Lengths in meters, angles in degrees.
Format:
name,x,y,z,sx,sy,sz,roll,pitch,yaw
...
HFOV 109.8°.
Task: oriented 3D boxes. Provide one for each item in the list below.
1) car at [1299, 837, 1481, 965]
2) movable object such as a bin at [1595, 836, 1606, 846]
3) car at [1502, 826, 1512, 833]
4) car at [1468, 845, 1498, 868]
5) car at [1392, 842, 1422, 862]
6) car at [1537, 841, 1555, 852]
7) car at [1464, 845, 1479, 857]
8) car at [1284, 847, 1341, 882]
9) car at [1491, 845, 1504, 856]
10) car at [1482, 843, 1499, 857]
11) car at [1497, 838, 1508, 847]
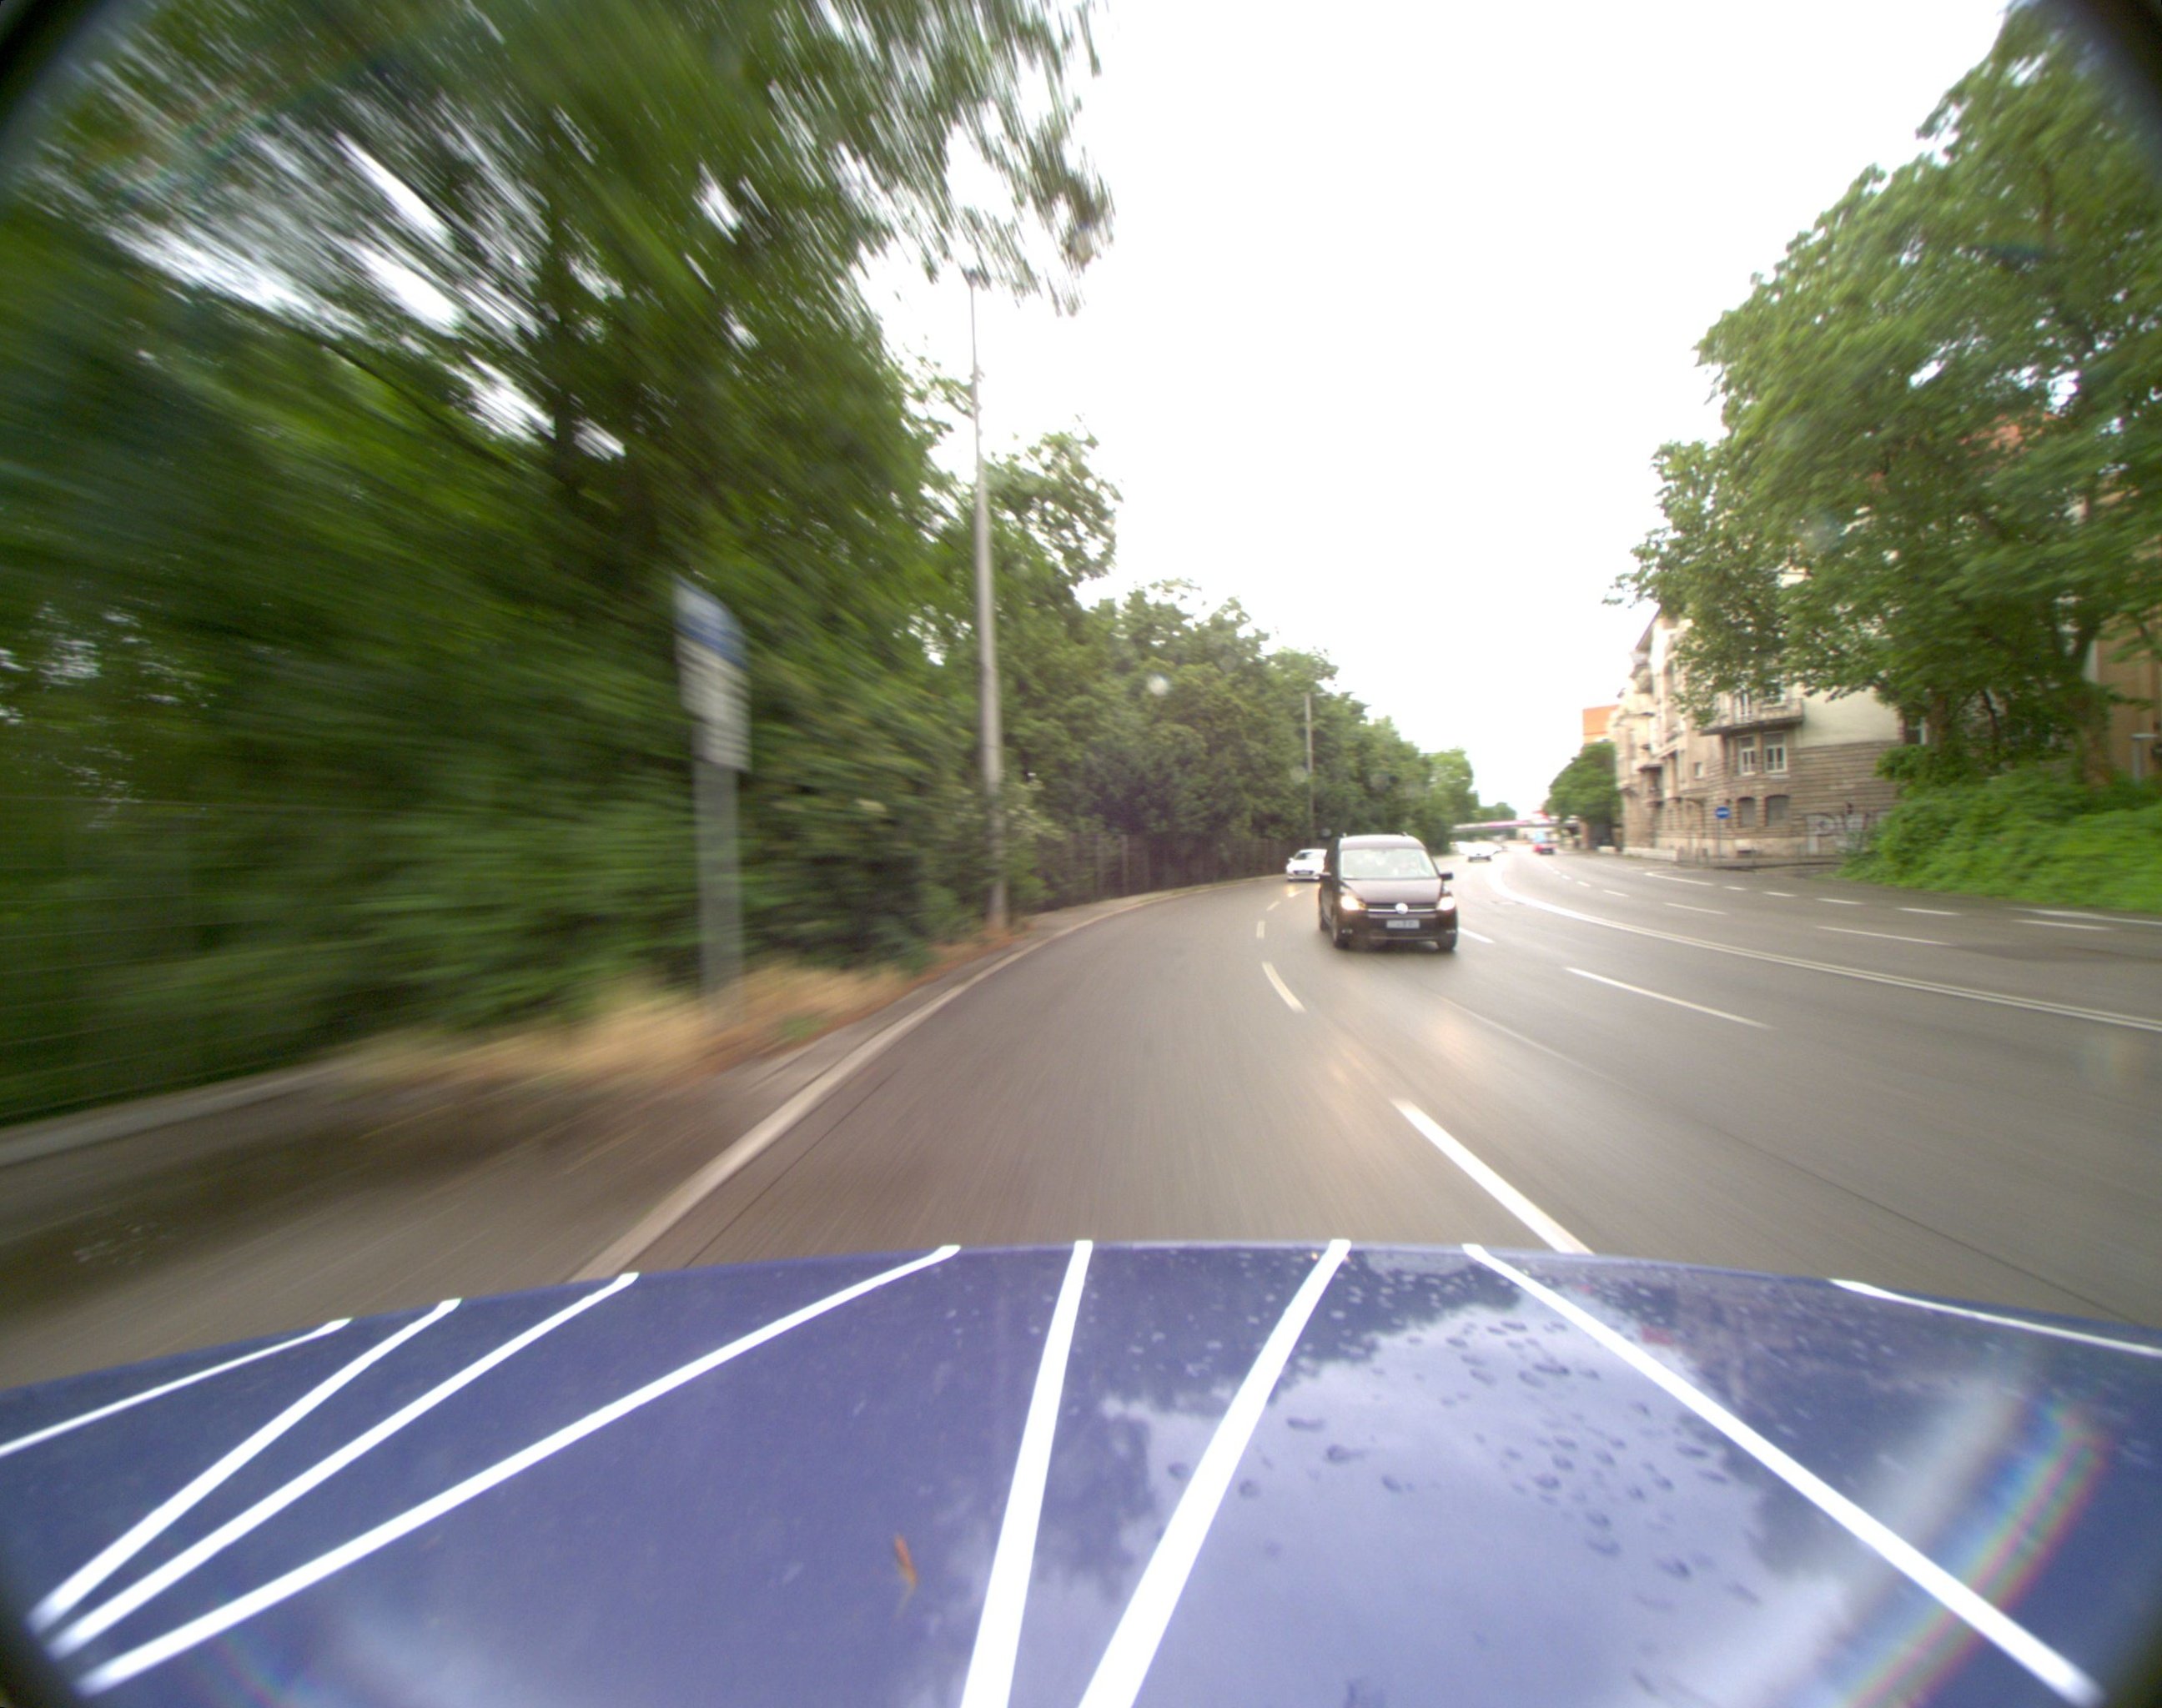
name,x,y,z,sx,sy,sz,roll,pitch,yaw
car,4.921,0.669,12.710,1.841,1.780,4.002,-1,0,7
movable object such as a bin,81.117,-1.983,118.667,1.069,1.427,1.374,-4,-1,24
car,101.543,-5.778,180.985,1.821,1.602,4.007,-4,0,31
car,36.209,0.187,68.359,1.698,1.787,3.809,-4,0,37
car,29.518,-0.211,68.766,1.798,1.586,4.007,-4,0,31
car,58.737,-0.927,95.931,1.702,1.331,3.922,-2,0,28
car,63.221,-0.529,122.976,1.875,1.761,4.007,-4,0,29
car,10.898,0.477,35.651,1.728,1.430,4.007,-3,0,28
car,71.899,-0.609,131.207,1.875,1.761,4.007,-4,0,29
car,60.273,-0.607,111.784,1.995,1.892,4.007,-4,0,30
car,90.998,-2.563,163.977,1.875,1.761,4.007,-4,0,29
